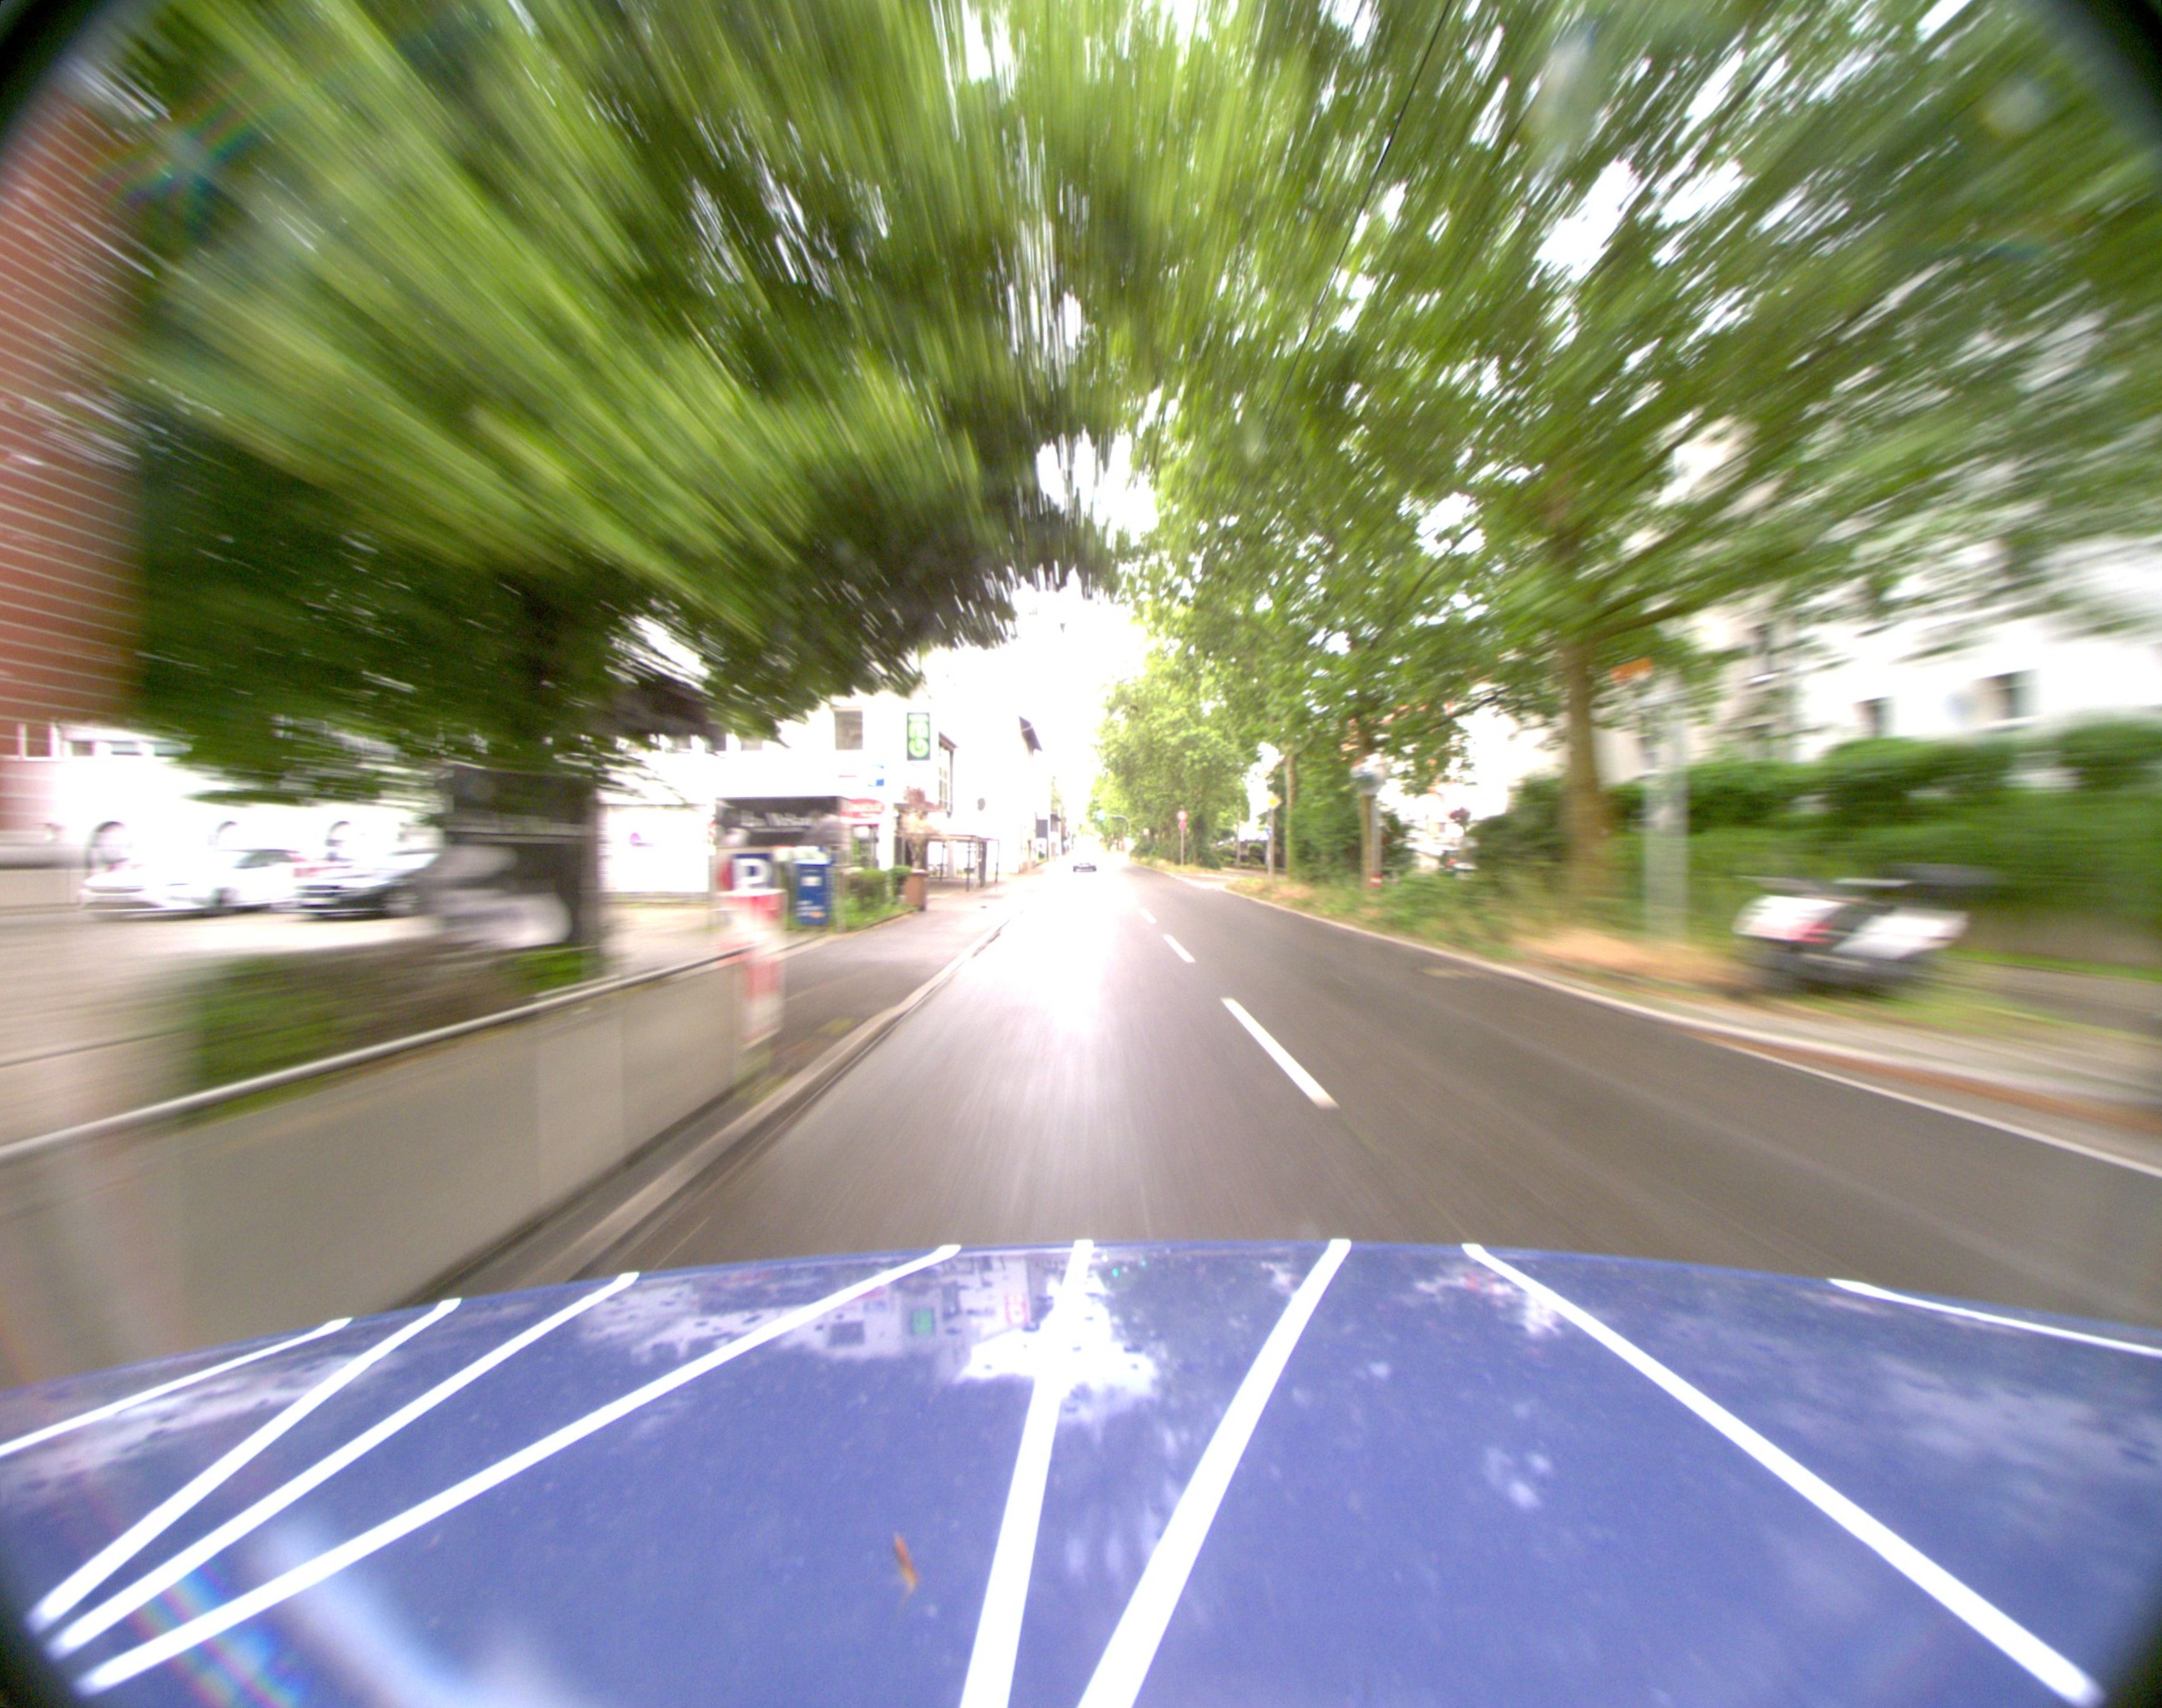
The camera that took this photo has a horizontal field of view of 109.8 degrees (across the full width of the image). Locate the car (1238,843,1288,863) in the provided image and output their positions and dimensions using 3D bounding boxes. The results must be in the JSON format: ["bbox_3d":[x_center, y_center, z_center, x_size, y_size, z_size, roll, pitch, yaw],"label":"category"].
[{"bbox_3d":[16.192,-0.094,67.818,3.997,1.784,1.959,-1,1,1],"label":"car"}]

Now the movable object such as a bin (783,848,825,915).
[{"bbox_3d":[-6.250,0.607,17.185,0.739,1.499,0.625,0,1,-3],"label":"movable object such as a bin"}]

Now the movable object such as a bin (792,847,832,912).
[{"bbox_3d":[-6.306,0.588,17.833,0.739,1.499,0.625,0,1,-3],"label":"movable object such as a bin"}]

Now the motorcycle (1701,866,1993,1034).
[{"bbox_3d":[6.434,0.775,6.456,1.717,1.332,0.722,0,1,1],"label":"motorcycle"}]

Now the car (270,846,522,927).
[{"bbox_3d":[-14.593,0.592,16.561,1.668,1.478,4.132,0,2,1],"label":"car"}]

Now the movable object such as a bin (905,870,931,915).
[{"bbox_3d":[-4.177,0.977,19.519,0.506,1.109,0.618,0,1,1],"label":"movable object such as a bin"}]

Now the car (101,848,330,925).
[{"bbox_3d":[-18.564,0.621,16.544,1.522,1.477,3.515,0,1,-14],"label":"car"}]

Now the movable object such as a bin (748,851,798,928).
[{"bbox_3d":[-6.149,0.690,15.184,0.739,1.499,0.625,0,1,-3],"label":"movable object such as a bin"}]

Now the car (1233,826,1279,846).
[{"bbox_3d":[16.229,-1.641,70.483,3.802,1.679,1.737,-3,2,-2],"label":"car"}]

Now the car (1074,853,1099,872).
[{"bbox_3d":[0.357,0.588,56.987,1.692,1.334,3.999,0,1,-2],"label":"car"}]

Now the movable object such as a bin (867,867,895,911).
[{"bbox_3d":[-5.214,0.904,19.842,0.532,1.109,0.561,0,1,3],"label":"movable object such as a bin"}]

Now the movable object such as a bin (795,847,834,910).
[{"bbox_3d":[-6.464,0.585,18.460,0.739,1.499,0.625,0,1,-3],"label":"movable object such as a bin"}]

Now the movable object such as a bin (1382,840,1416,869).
[{"bbox_3d":[17.479,0.004,41.822,1.164,1.455,1.300,-6,1,0],"label":"movable object such as a bin"}]

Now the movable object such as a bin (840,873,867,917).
[{"bbox_3d":[-5.922,1.053,19.783,0.506,1.109,0.618,0,1,1],"label":"movable object such as a bin"}]

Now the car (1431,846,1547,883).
[{"bbox_3d":[17.506,0.436,32.765,3.995,1.468,1.907,-1,1,7],"label":"car"}]

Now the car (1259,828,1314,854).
[{"bbox_3d":[16.454,-1.049,61.076,3.995,2.002,1.957,0,1,6],"label":"car"}]

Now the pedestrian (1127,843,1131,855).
[{"bbox_3d":[7.140,-0.757,113.316,0.648,1.675,0.631,0,1,0],"label":"pedestrian"}]

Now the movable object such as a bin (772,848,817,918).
[{"bbox_3d":[-6.221,0.614,16.529,0.739,1.499,0.625,0,1,-3],"label":"movable object such as a bin"}]

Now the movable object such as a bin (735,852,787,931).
[{"bbox_3d":[-6.132,0.703,14.570,0.739,1.492,0.625,0,1,-3],"label":"movable object such as a bin"}]

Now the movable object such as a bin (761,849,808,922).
[{"bbox_3d":[-6.177,0.641,15.833,0.739,1.499,0.625,0,1,-3],"label":"movable object such as a bin"}]
